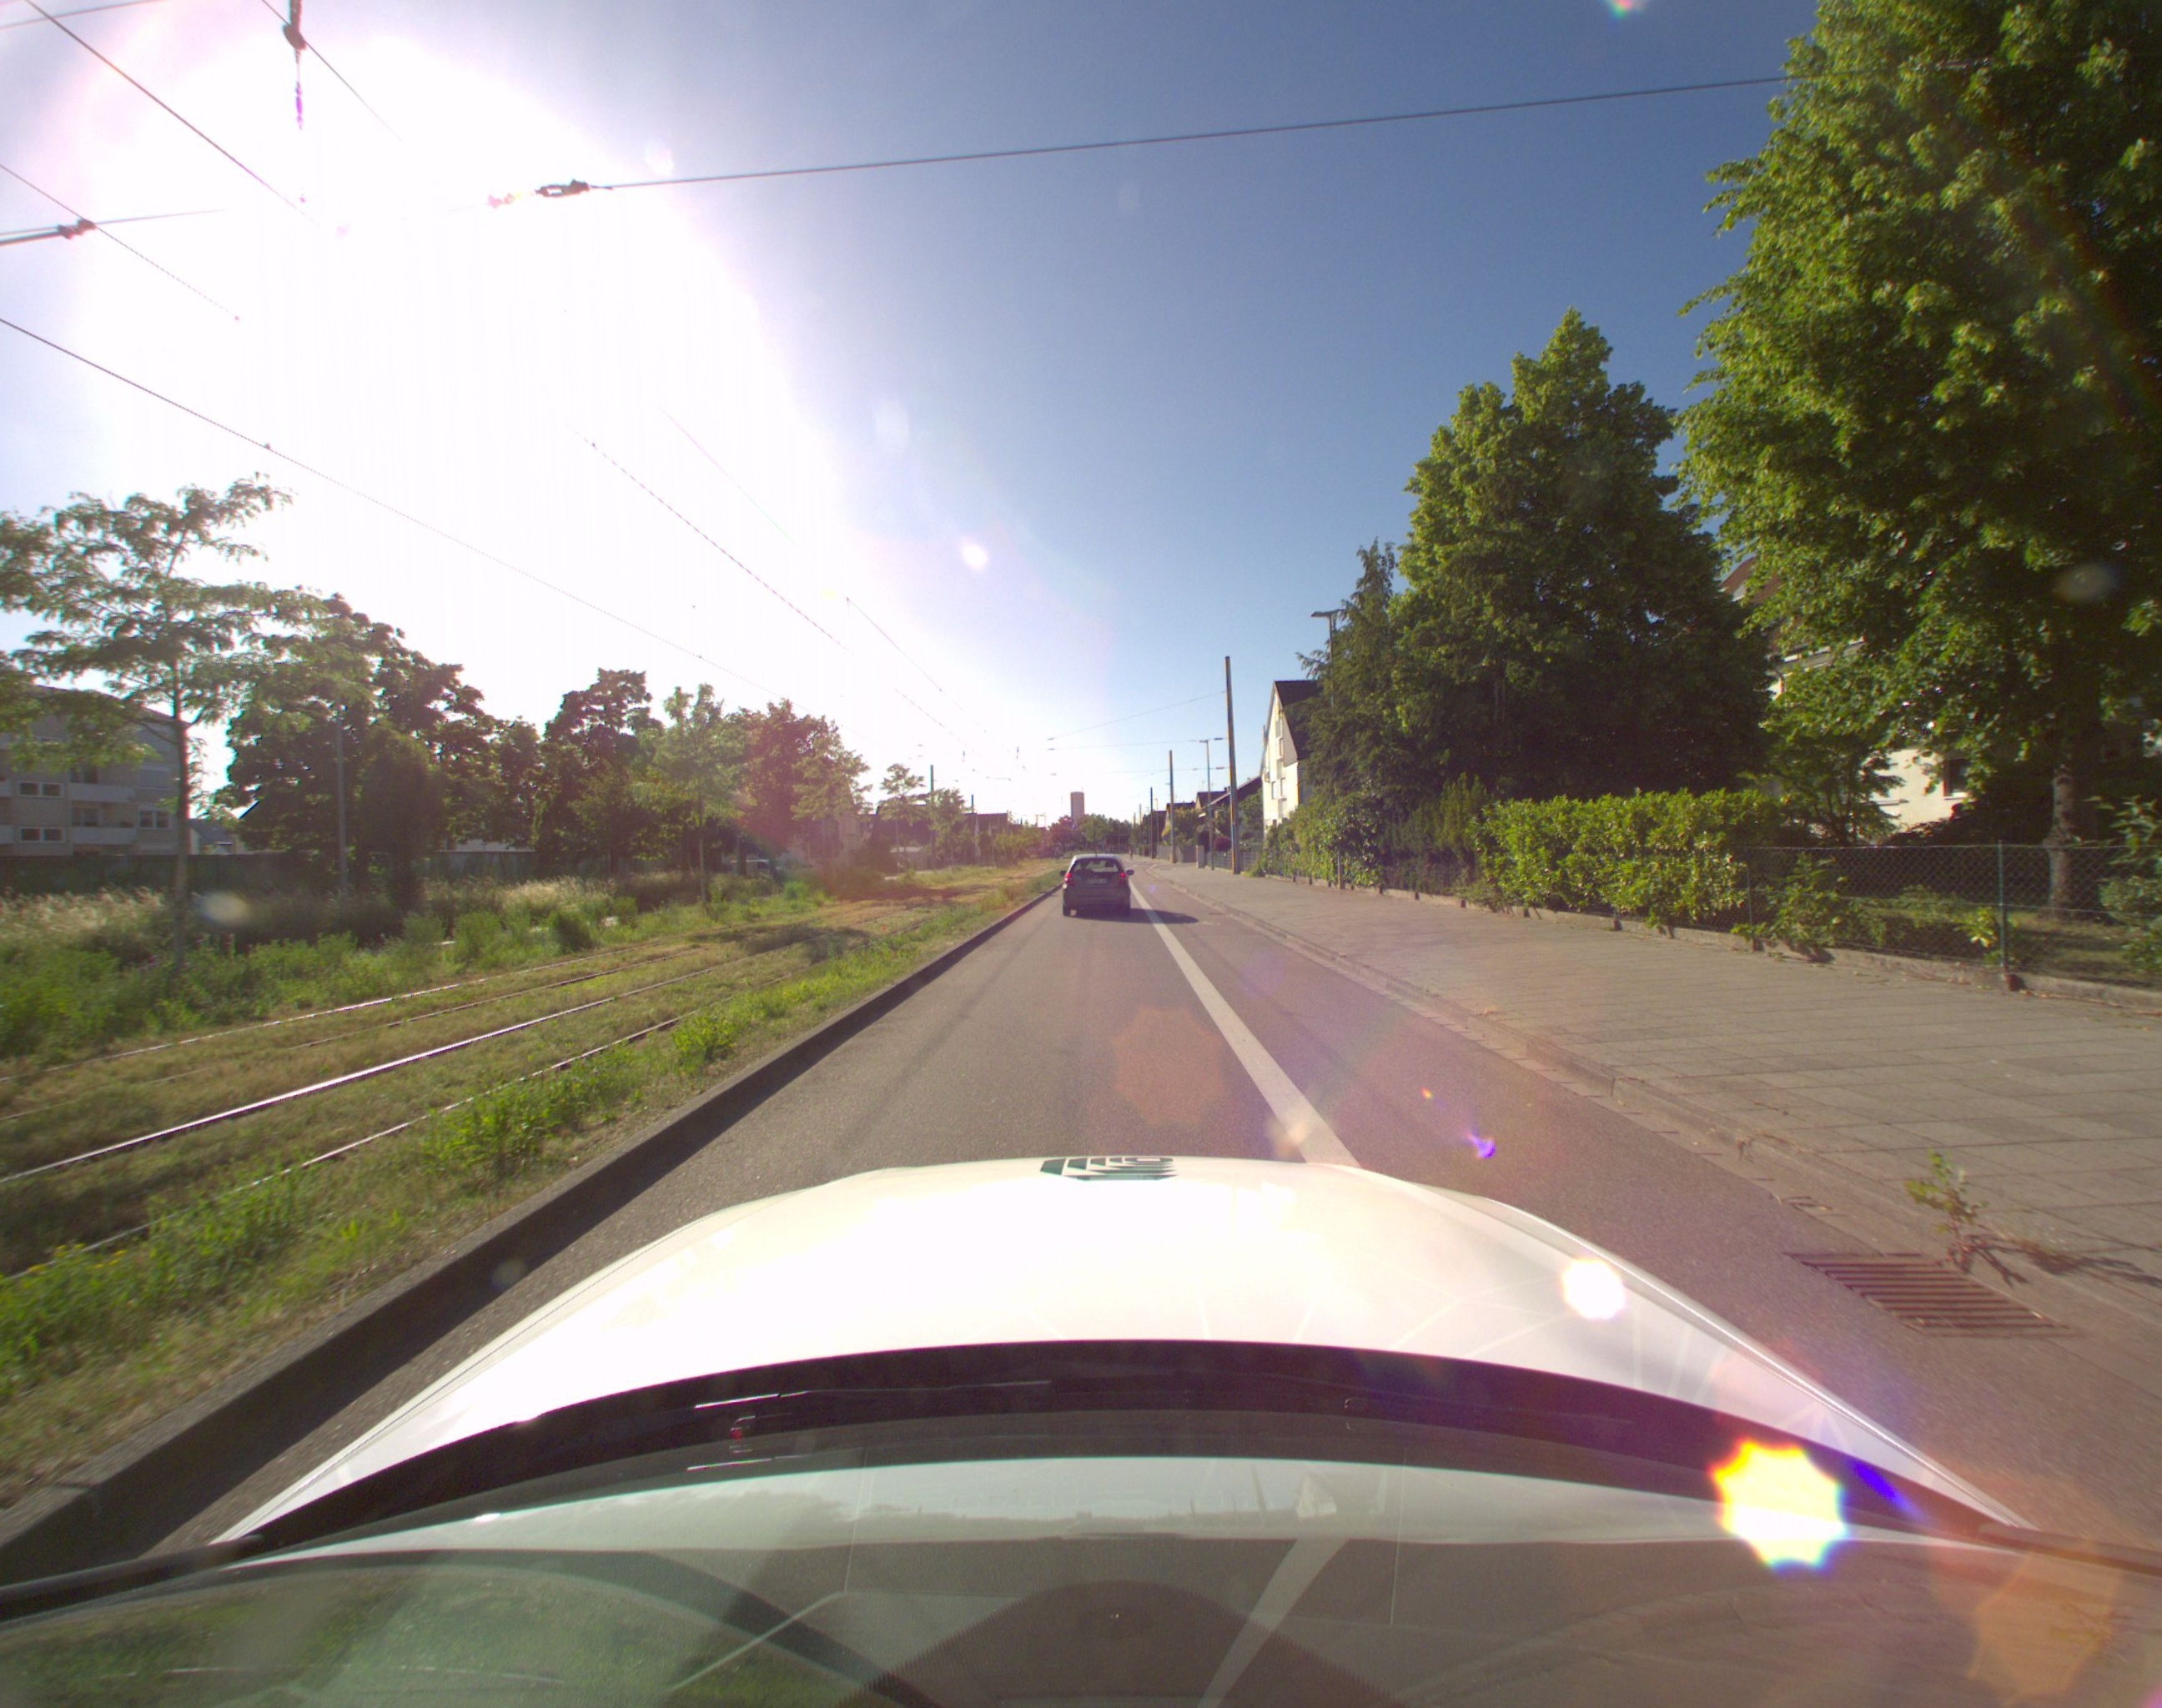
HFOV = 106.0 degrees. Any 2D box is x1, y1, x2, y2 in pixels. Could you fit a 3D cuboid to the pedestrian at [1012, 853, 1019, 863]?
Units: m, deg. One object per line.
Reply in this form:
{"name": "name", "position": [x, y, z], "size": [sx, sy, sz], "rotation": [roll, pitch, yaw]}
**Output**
{"name": "pedestrian", "position": [-11.347, 0.647, 141.187], "size": [0.961, 1.640, 1.086], "rotation": [-2, 0, 2]}

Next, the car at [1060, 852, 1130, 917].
{"name": "car", "position": [0.358, 0.734, 21.079], "size": [1.665, 1.536, 3.487], "rotation": [0, 0, 0]}

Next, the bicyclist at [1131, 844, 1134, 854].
{"name": "bicyclist", "position": [8.552, -0.871, 135.520], "size": [0.596, 1.701, 0.684], "rotation": [0, -1, 2]}

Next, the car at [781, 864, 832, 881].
{"name": "car", "position": [-25.132, 1.709, 74.675], "size": [3.973, 1.404, 1.853], "rotation": [-2, -2, 0]}

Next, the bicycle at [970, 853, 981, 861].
{"name": "bicycle", "position": [-20.217, 0.570, 156.299], "size": [1.985, 1.365, 0.704], "rotation": [-2, 0, -5]}

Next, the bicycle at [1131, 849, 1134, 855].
{"name": "bicycle", "position": [8.612, -0.395, 135.702], "size": [0.473, 0.961, 1.658], "rotation": [0, -1, 2]}

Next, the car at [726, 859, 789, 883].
{"name": "car", "position": [-28.556, 1.484, 71.947], "size": [4.670, 1.914, 1.904], "rotation": [-2, 0, 1]}

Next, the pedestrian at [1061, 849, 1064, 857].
{"name": "pedestrian", "position": [-3.797, -0.156, 166.740], "size": [0.673, 1.535, 0.748], "rotation": [-2, 0, -3]}
